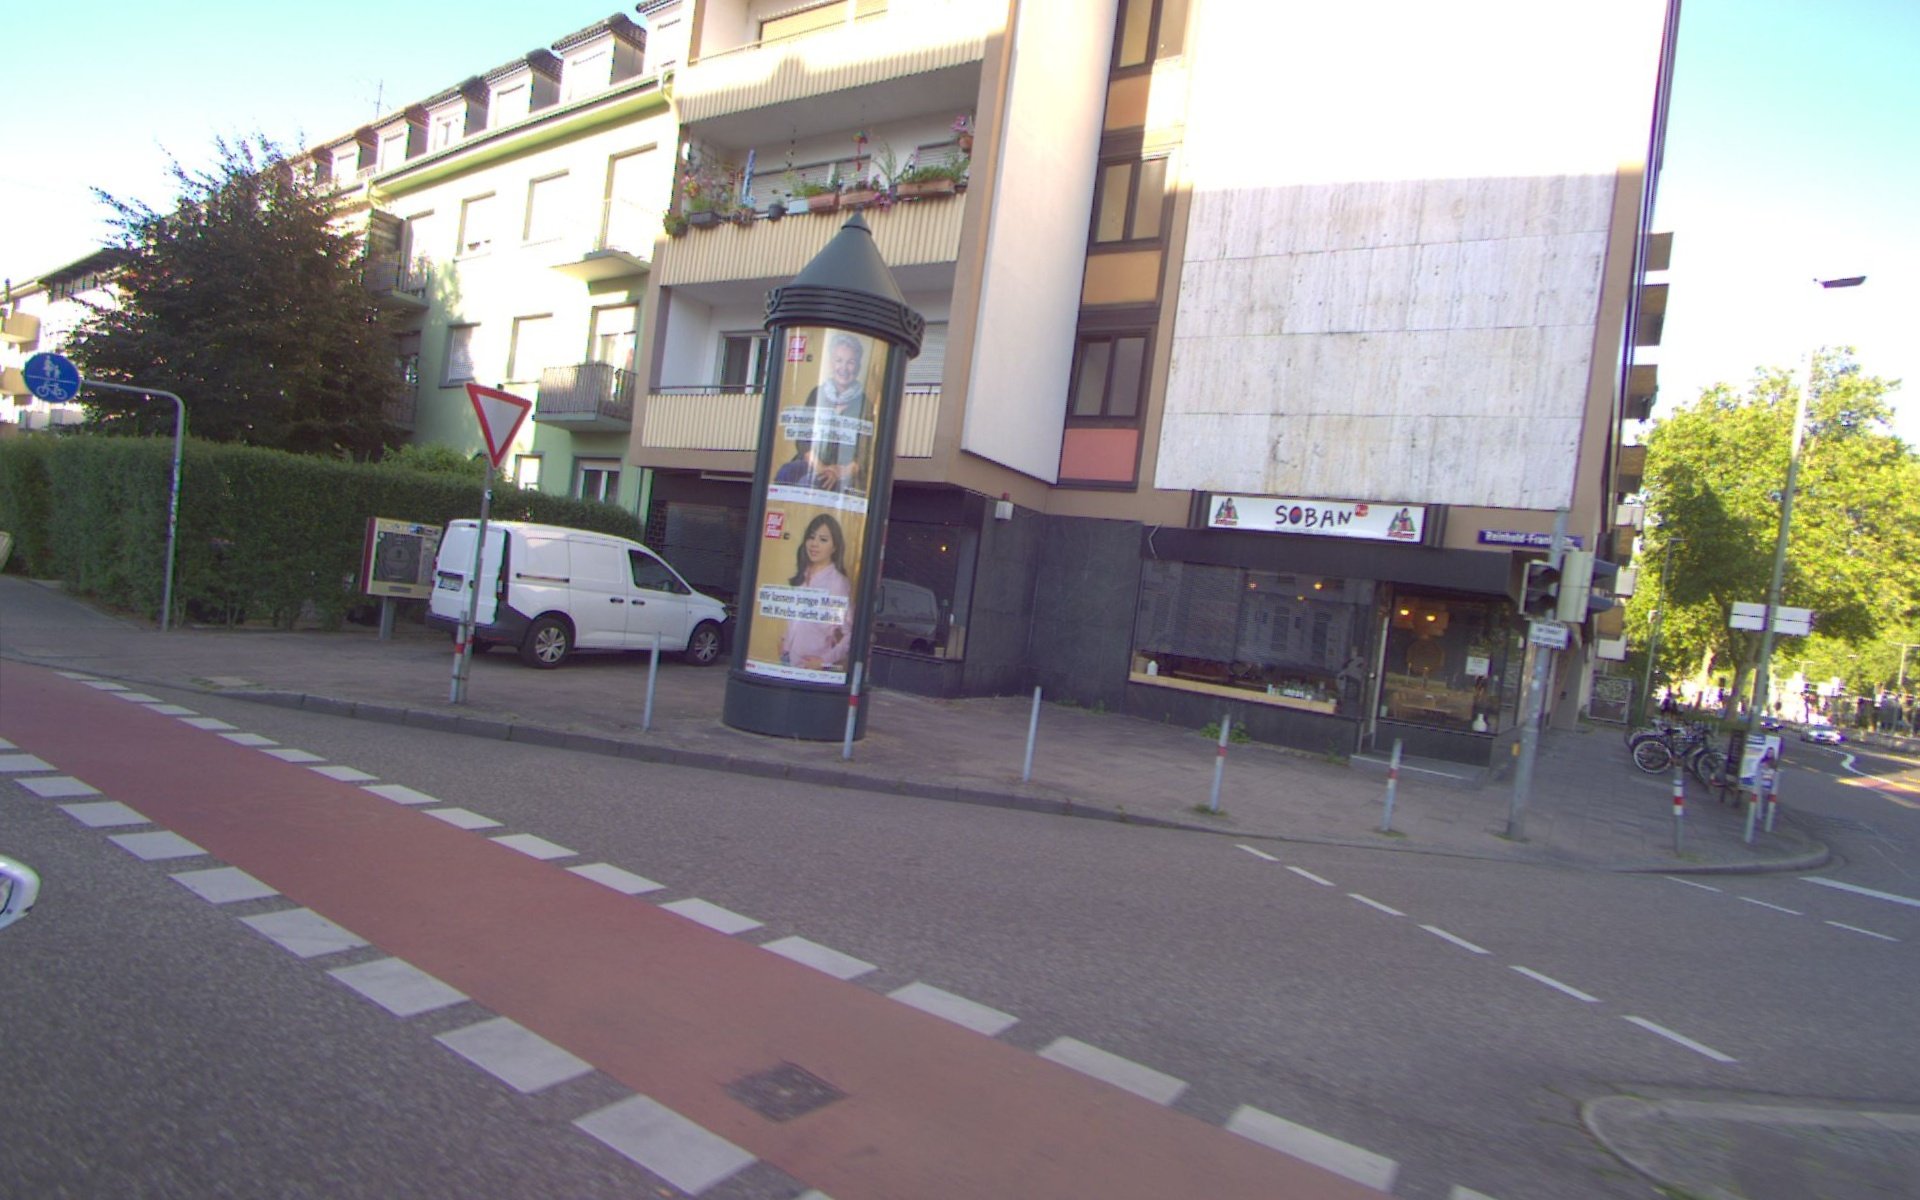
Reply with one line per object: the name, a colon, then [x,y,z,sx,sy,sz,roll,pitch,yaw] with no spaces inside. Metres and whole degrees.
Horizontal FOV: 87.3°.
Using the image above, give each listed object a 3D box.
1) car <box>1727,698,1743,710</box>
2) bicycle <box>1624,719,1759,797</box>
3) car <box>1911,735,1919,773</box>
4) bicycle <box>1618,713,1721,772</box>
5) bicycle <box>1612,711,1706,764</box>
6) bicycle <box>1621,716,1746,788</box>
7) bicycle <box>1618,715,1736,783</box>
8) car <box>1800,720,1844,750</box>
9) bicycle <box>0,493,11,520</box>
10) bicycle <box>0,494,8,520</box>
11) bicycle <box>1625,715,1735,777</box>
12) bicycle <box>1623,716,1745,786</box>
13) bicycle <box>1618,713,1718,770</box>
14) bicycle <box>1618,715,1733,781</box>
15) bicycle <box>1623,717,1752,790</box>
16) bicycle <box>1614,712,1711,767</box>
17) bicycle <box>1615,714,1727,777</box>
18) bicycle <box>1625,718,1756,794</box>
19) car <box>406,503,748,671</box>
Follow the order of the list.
car: [142.853,19.149,185.353,1.742,1.727,3.991,8,0,32]
bicycle: [14.108,3.023,19.460,1.976,1.110,0.526,8,1,35]
car: [44.692,7.154,45.308,1.742,1.727,3.991,8,0,32]
bicycle: [17.967,3.594,25.529,1.972,1.110,0.527,8,1,28]
bicycle: [19.383,3.805,27.944,1.972,1.110,0.527,8,1,28]
bicycle: [15.281,3.197,21.308,1.972,1.110,0.527,8,1,28]
bicycle: [15.924,3.293,22.403,1.973,1.110,0.527,8,1,30]
car: [63.402,9.919,74.049,1.742,1.727,3.991,8,0,32]
bicycle: [-32.518,-3.204,33.391,0.363,0.864,1.369,8,0,38]
bicycle: [-32.869,-3.211,33.674,0.359,0.864,1.359,8,0,37]
bicycle: [17.291,3.493,24.214,1.972,1.110,0.527,8,1,28]
bicycle: [15.643,3.250,21.798,1.972,1.110,0.527,8,1,28]
bicycle: [18.519,3.676,26.358,1.972,1.110,0.527,8,1,28]
bicycle: [16.257,3.342,22.923,1.973,1.110,0.527,8,1,30]
bicycle: [14.974,3.151,20.773,1.972,1.110,0.527,8,1,28]
bicycle: [18.800,3.718,26.973,1.972,1.110,0.527,8,1,28]
bicycle: [16.767,3.418,23.775,1.972,1.110,0.527,8,1,28]
bicycle: [14.495,3.081,20.037,1.976,1.110,0.526,8,1,35]
car: [-5.254,-0.080,14.311,1.832,1.836,4.090,8,0,34]
